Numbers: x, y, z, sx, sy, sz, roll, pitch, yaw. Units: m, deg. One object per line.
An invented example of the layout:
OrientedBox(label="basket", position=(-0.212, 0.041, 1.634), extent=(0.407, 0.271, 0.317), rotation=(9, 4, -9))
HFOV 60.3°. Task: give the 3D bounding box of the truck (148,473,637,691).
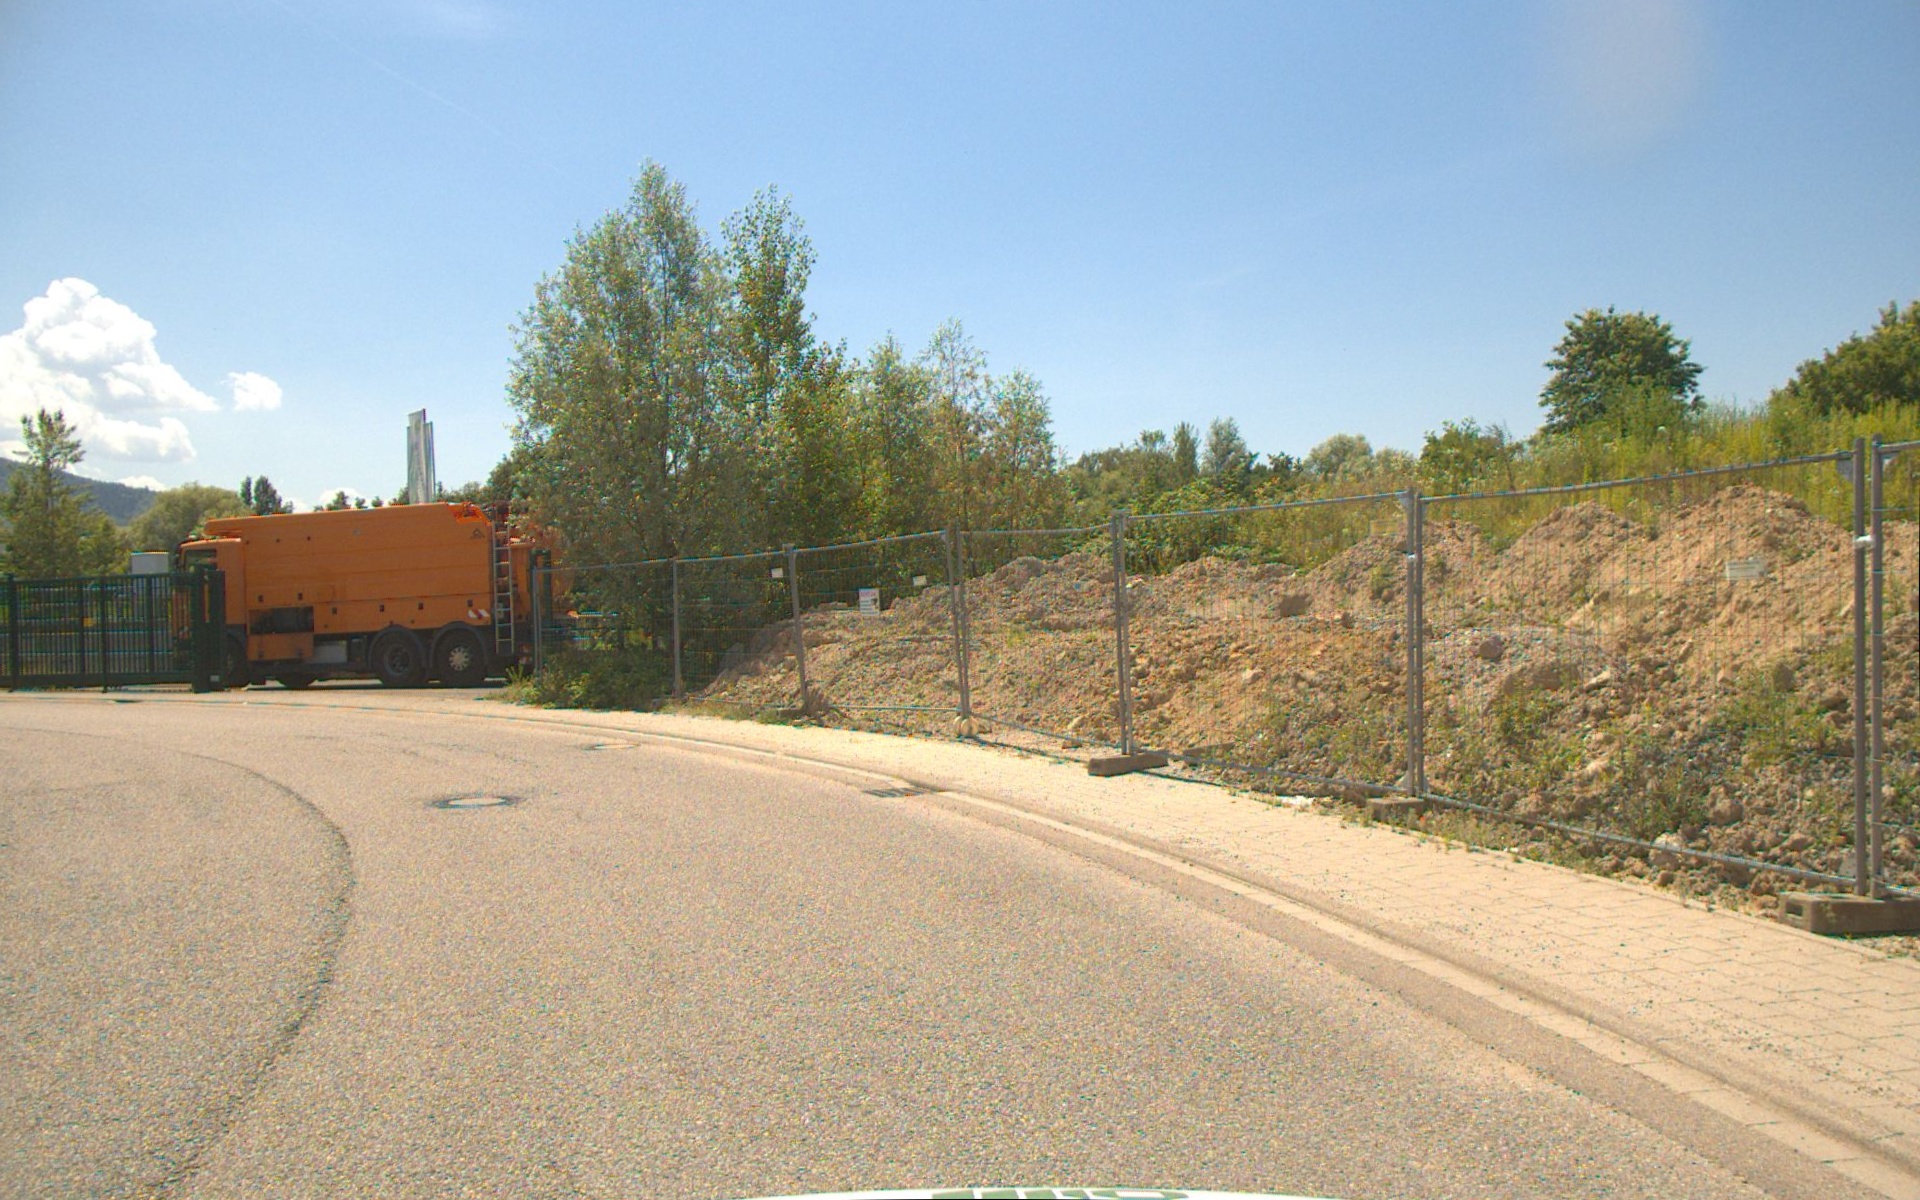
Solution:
OrientedBox(label="truck", position=(-11.416, -0.334, 33.680), extent=(8.401, 3.872, 4.168), rotation=(-2, 1, 15))

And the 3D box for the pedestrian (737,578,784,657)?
OrientedBox(label="pedestrian", position=(-4.745, 0.413, 39.409), extent=(0.857, 1.856, 0.740), rotation=(-1, 1, 17))
